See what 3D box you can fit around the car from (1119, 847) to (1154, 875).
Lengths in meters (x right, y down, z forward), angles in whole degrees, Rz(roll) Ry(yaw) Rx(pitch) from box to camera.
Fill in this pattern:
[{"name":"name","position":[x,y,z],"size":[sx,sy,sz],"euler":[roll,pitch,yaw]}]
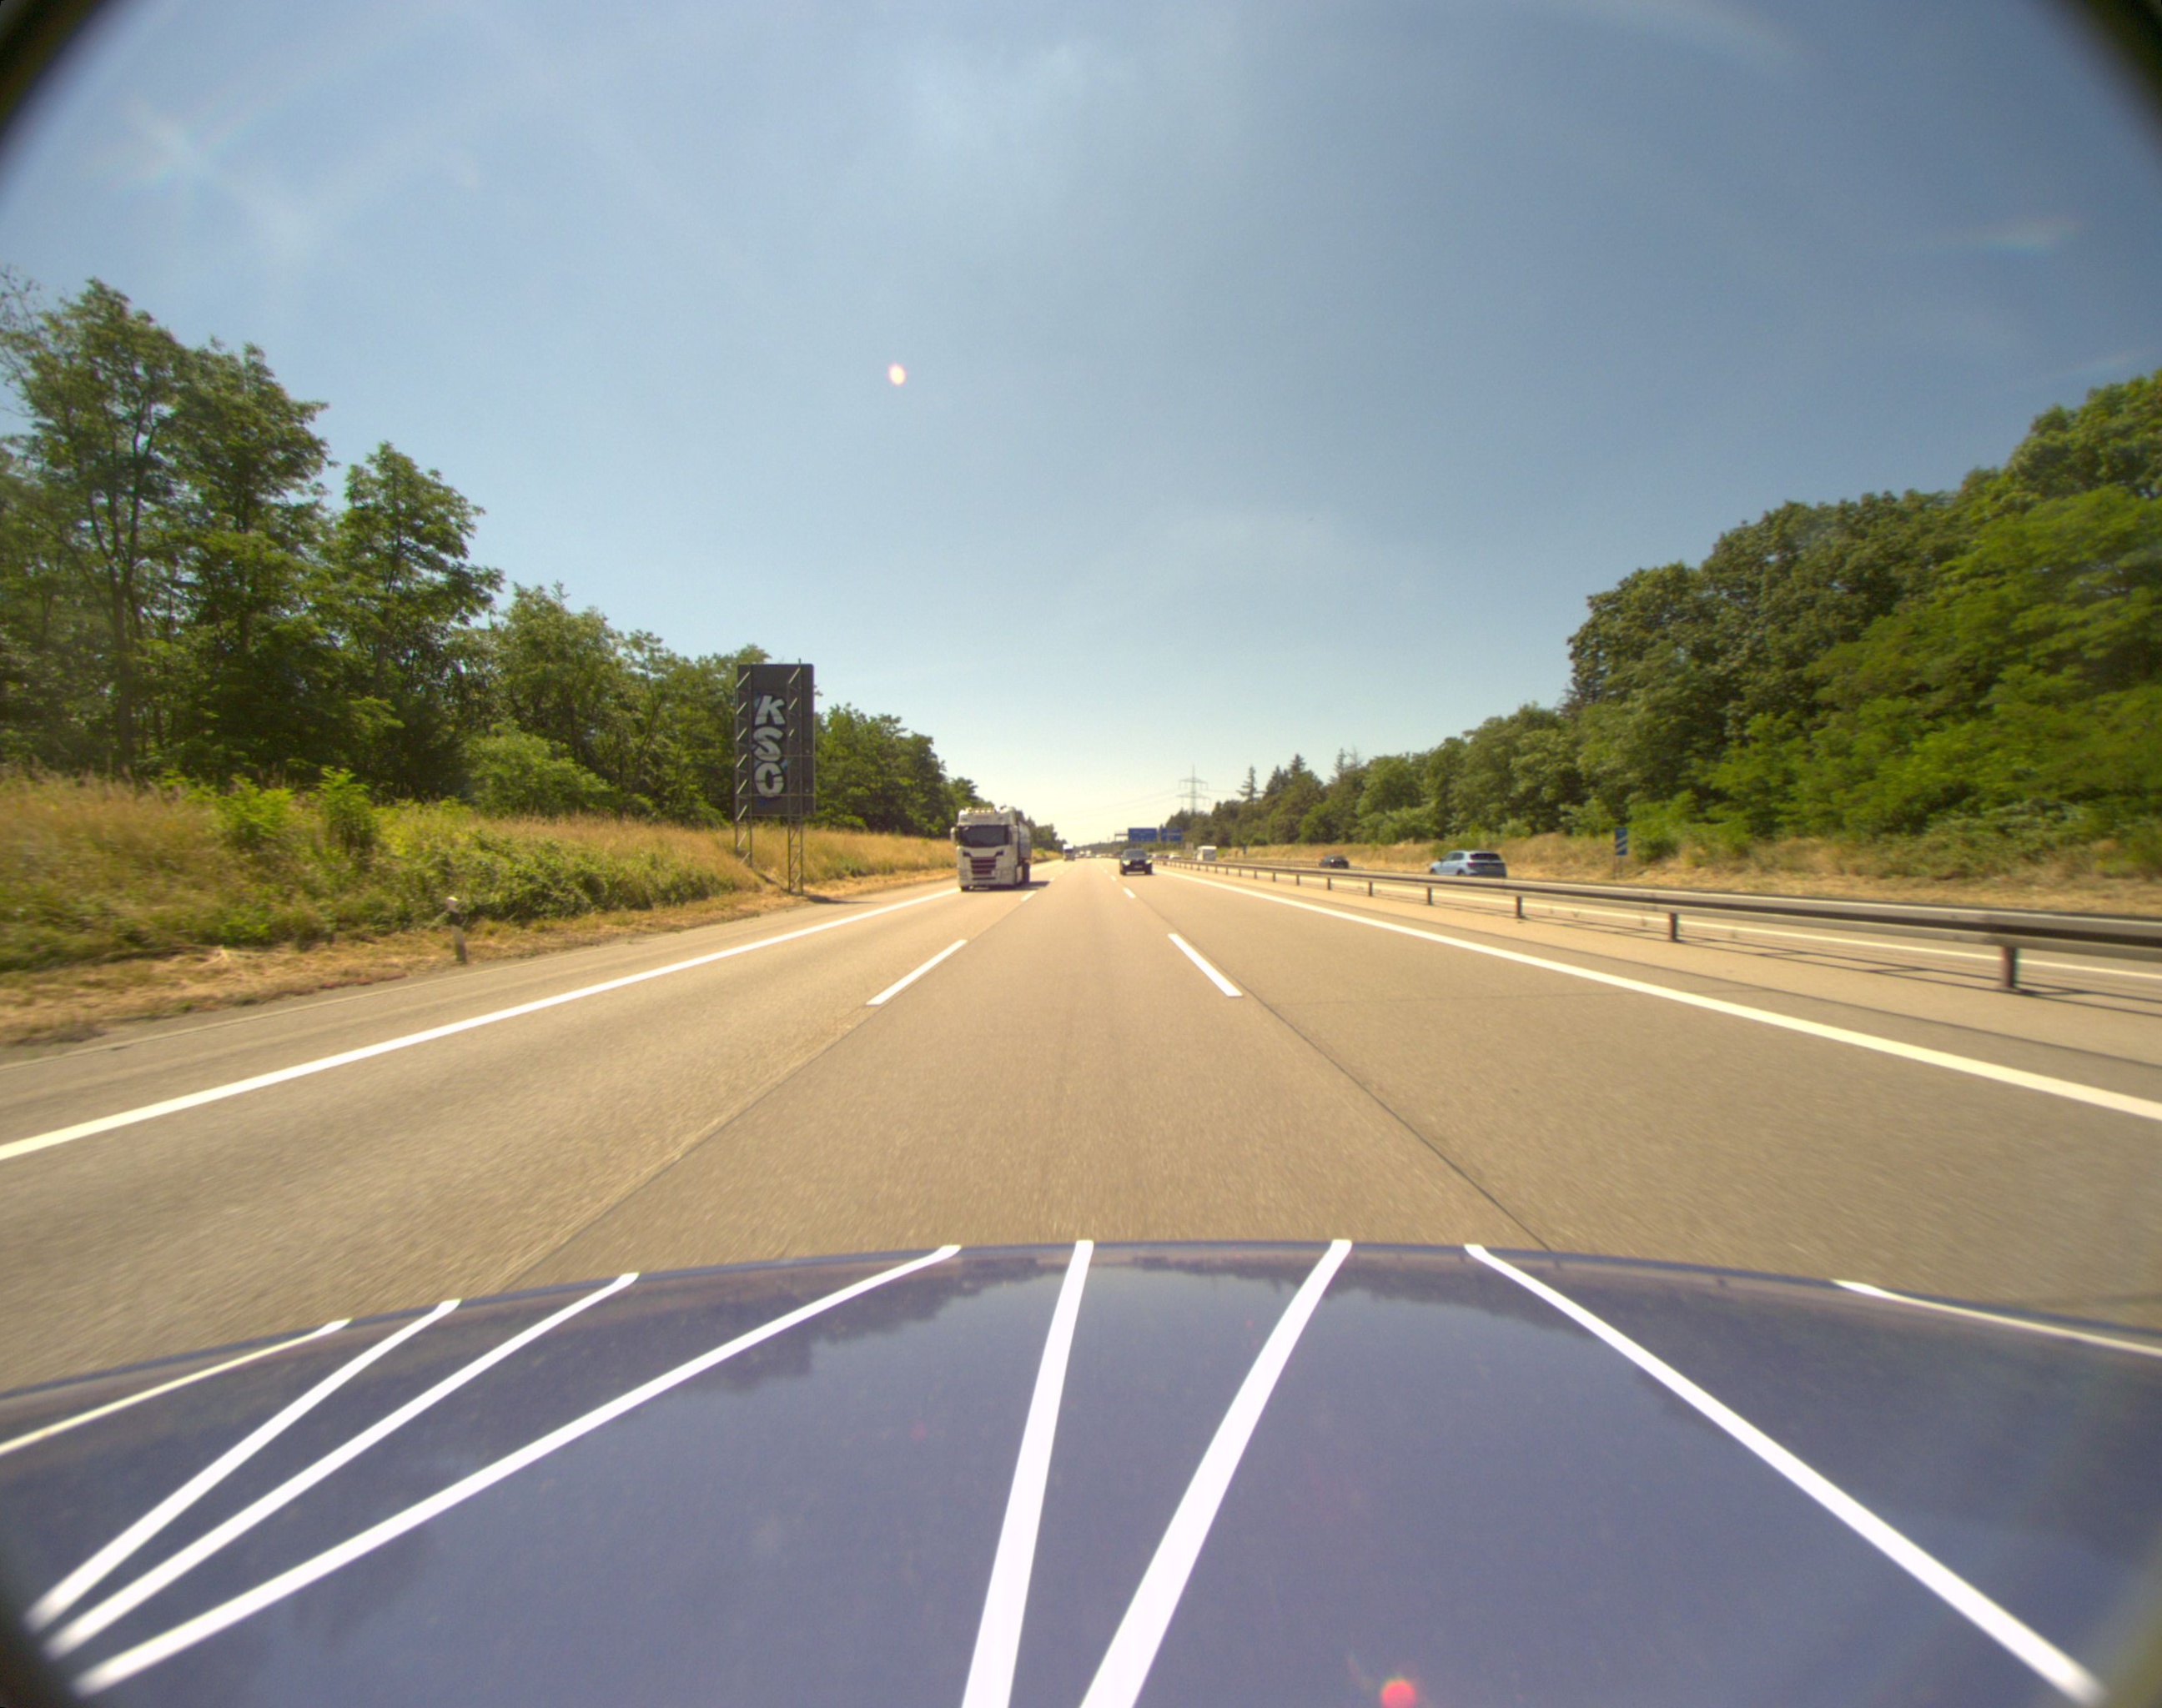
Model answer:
[{"name":"car","position":[3.739,0.431,51.913],"size":[1.945,1.742,5.812],"euler":[-2,0,0]}]

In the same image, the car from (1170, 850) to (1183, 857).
[{"name":"car","position":[18.901,-0.153,151.009],"size":[2.016,1.408,3.870],"euler":[2,0,0]}]

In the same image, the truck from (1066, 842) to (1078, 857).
[{"name":"truck","position":[-2.200,-1.072,186.310],"size":[2.593,3.534,8.648],"euler":[-2,0,1]}]

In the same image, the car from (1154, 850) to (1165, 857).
[{"name":"car","position":[14.928,-0.158,145.214],"size":[1.662,1.248,3.607],"euler":[2,0,0]}]

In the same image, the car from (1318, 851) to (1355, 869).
[{"name":"car","position":[21.833,0.520,65.042],"size":[1.776,1.408,3.870],"euler":[2,0,0]}]

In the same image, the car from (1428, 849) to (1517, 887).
[{"name":"car","position":[16.847,0.562,32.895],"size":[1.776,1.513,3.908],"euler":[2,0,0]}]

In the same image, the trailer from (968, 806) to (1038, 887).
[{"name":"trailer","position":[-4.013,-0.392,41.115],"size":[2.605,3.811,8.698],"euler":[-2,0,1]}]

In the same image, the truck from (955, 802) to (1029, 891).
[{"name":"truck","position":[-4.081,-0.345,36.208],"size":[2.605,3.812,5.969],"euler":[-2,0,1]}]

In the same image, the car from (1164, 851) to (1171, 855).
[{"name":"car","position":[26.964,-0.268,235.874],"size":[1.662,1.248,3.607],"euler":[2,0,0]}]

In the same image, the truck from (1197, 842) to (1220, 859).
[{"name":"truck","position":[21.434,-0.562,128.159],"size":[2.657,2.657,6.366],"euler":[2,0,0]}]

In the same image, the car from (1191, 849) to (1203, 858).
[{"name":"car","position":[22.260,-0.108,146.283],"size":[1.662,1.637,3.607],"euler":[2,0,0]}]

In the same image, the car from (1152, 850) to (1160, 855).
[{"name":"car","position":[19.152,-0.335,193.956],"size":[1.662,1.248,3.607],"euler":[2,0,0]}]
